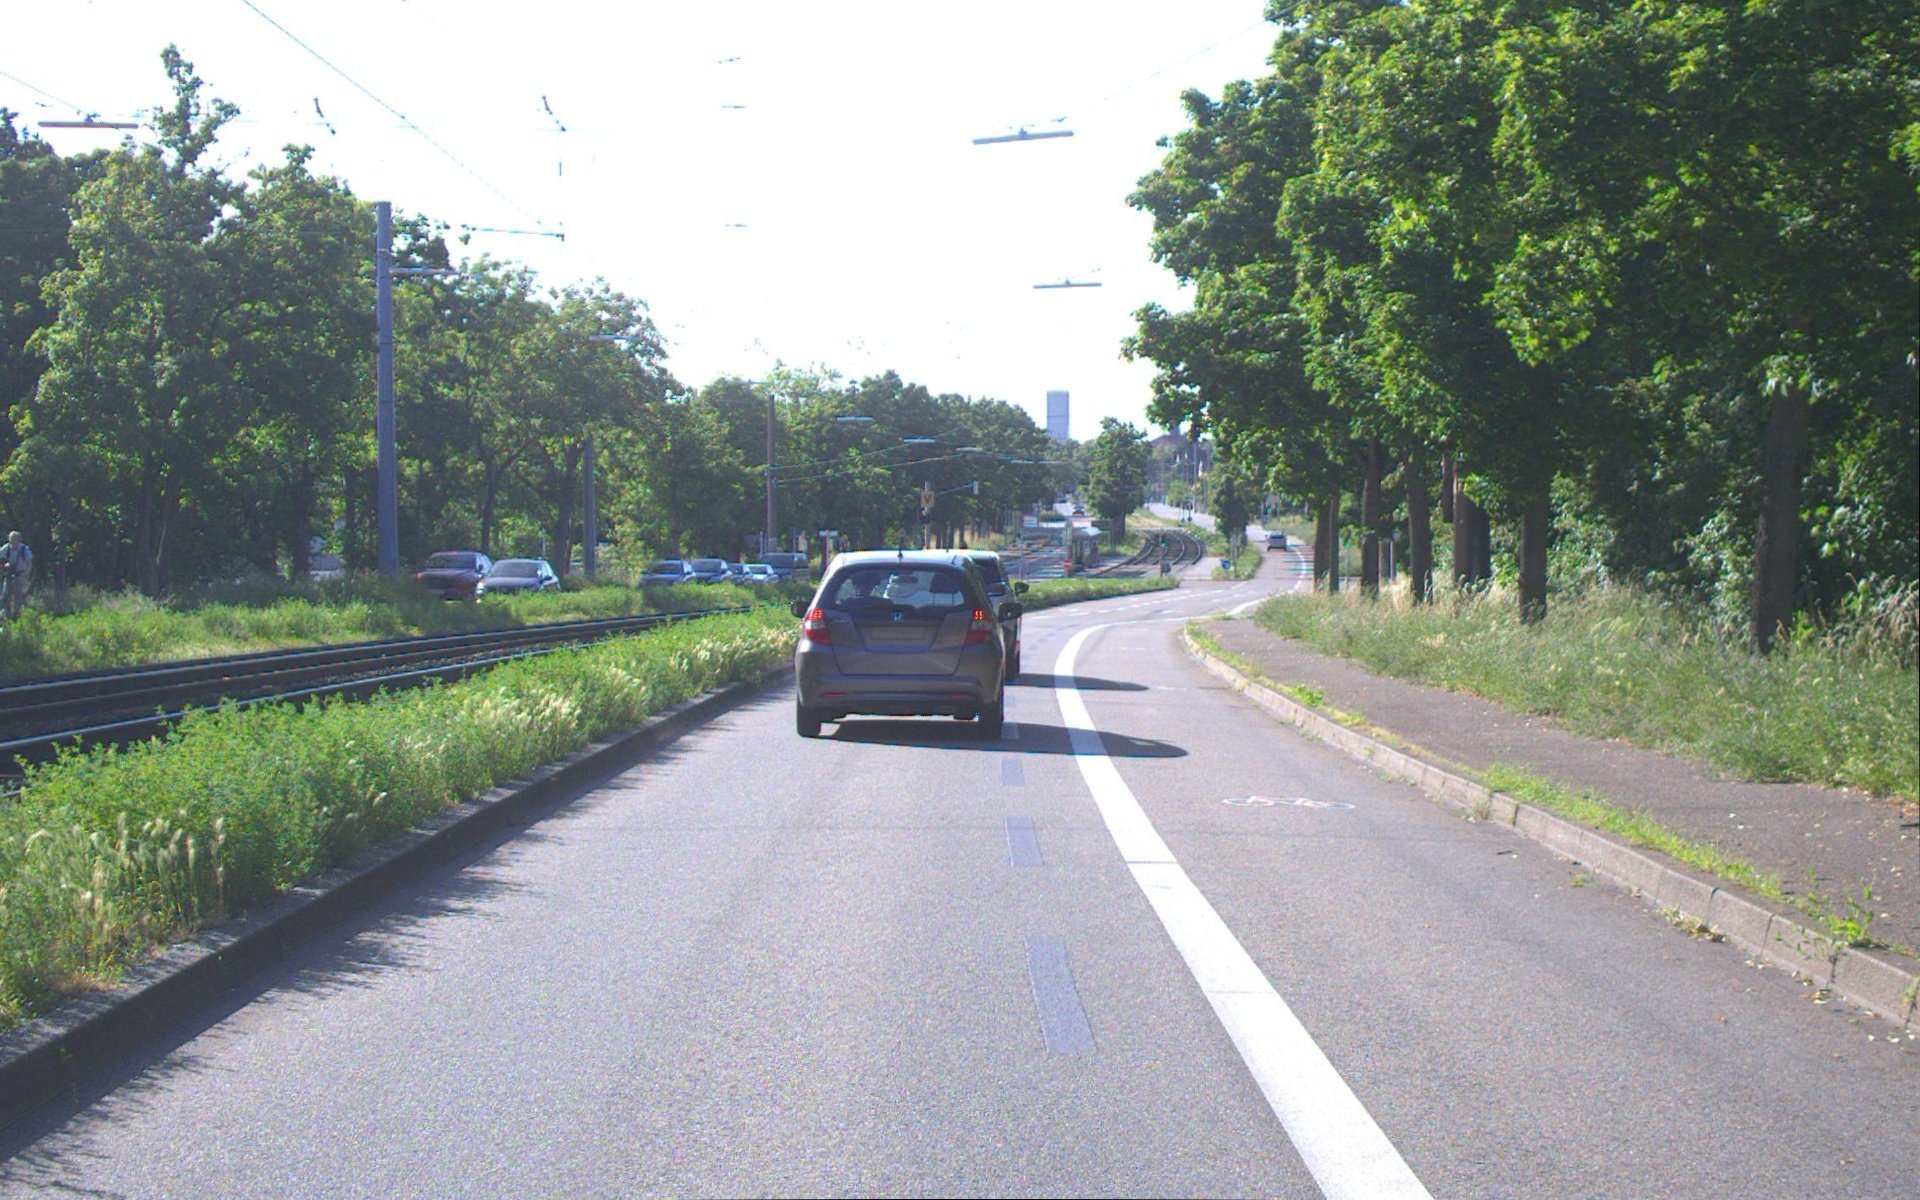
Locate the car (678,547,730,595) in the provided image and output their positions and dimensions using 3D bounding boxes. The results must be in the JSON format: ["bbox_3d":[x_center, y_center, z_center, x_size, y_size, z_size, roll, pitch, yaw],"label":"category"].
[{"bbox_3d":[-10.484,-1.199,140.996,1.701,1.678,4.001,2,4,1],"label":"car"}]

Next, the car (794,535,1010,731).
[{"bbox_3d":[-0.495,0.243,29.075,1.670,1.502,3.811,1,1,-1],"label":"car"}]

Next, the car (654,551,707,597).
[{"bbox_3d":[-10.925,-1.016,134.522,1.623,1.546,4.001,2,4,1],"label":"car"}]

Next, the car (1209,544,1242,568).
[{"bbox_3d":[17.066,-2.851,220.885,1.655,1.308,3.810,2,4,11],"label":"car"}]

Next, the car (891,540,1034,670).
[{"bbox_3d":[-0.005,0.033,42.848,1.654,1.502,3.811,1,1,-1],"label":"car"}]

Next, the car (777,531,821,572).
[{"bbox_3d":[-7.446,-2.254,159.031,1.701,1.678,4.001,2,4,1],"label":"car"}]

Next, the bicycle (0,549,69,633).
[{"bbox_3d":[-15.720,-0.174,57.338,0.789,1.191,3.169,2,4,2],"label":"bicycle"}]

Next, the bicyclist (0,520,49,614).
[{"bbox_3d":[-15.732,-0.563,57.278,0.790,1.484,1.109,2,3,1],"label":"bicyclist"}]

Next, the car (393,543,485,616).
[{"bbox_3d":[-15.232,-0.625,100.678,1.993,1.869,4.001,2,4,1],"label":"car"}]

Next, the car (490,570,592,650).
[{"bbox_3d":[-10.614,0.229,87.313,1.993,1.710,4.001,2,4,1],"label":"car"}]
